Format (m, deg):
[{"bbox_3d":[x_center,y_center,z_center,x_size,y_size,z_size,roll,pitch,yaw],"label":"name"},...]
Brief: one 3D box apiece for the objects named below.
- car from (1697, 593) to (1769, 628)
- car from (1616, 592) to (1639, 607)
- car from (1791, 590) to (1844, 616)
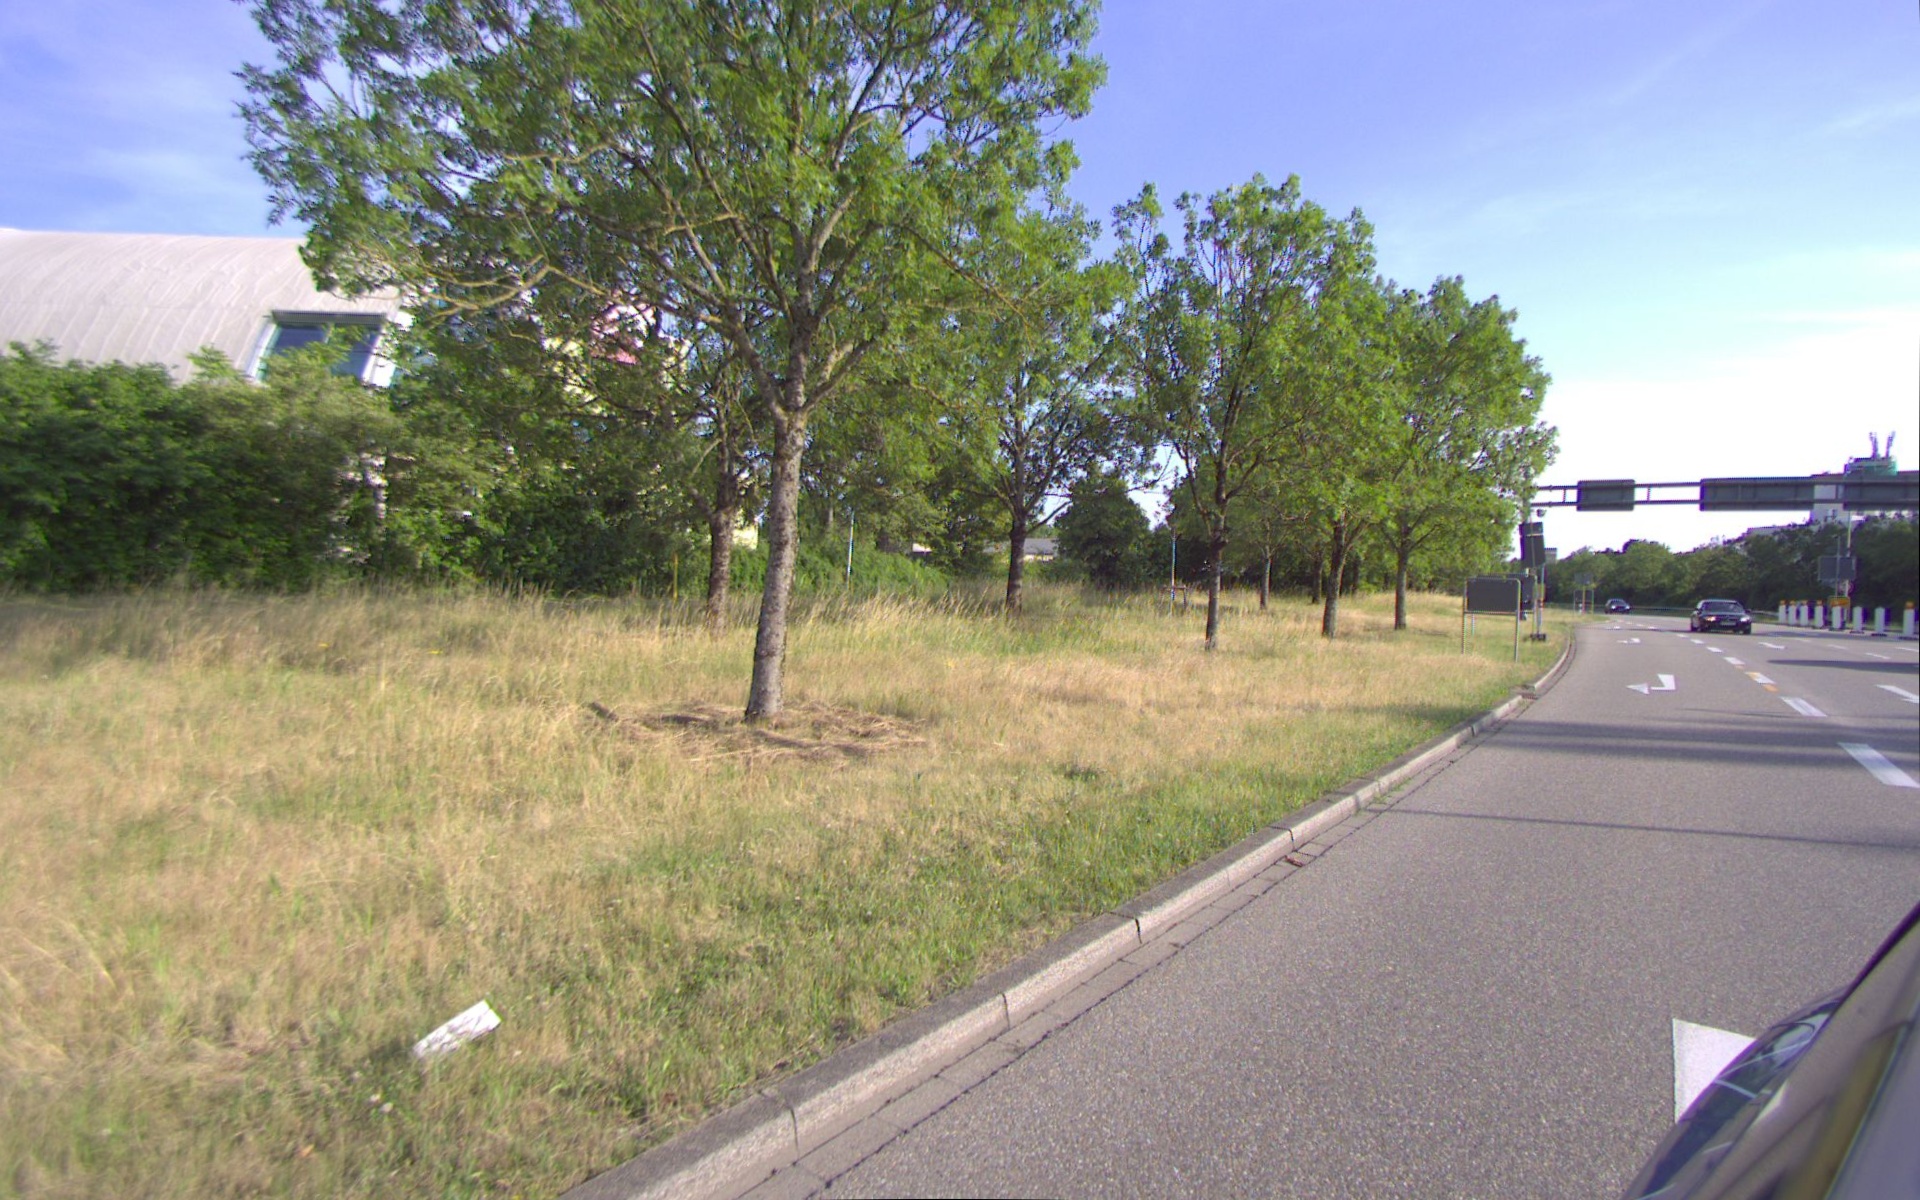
[{"bbox_3d":[33.036,0.403,43.348,1.886,1.403,4.310,1,1,30],"label":"car"},{"bbox_3d":[68.532,-0.069,103.949,1.882,1.474,3.864,3,2,33],"label":"car"},{"bbox_3d":[74.195,0.236,87.627,1.979,2.038,5.314,3,2,24],"label":"car"}]
